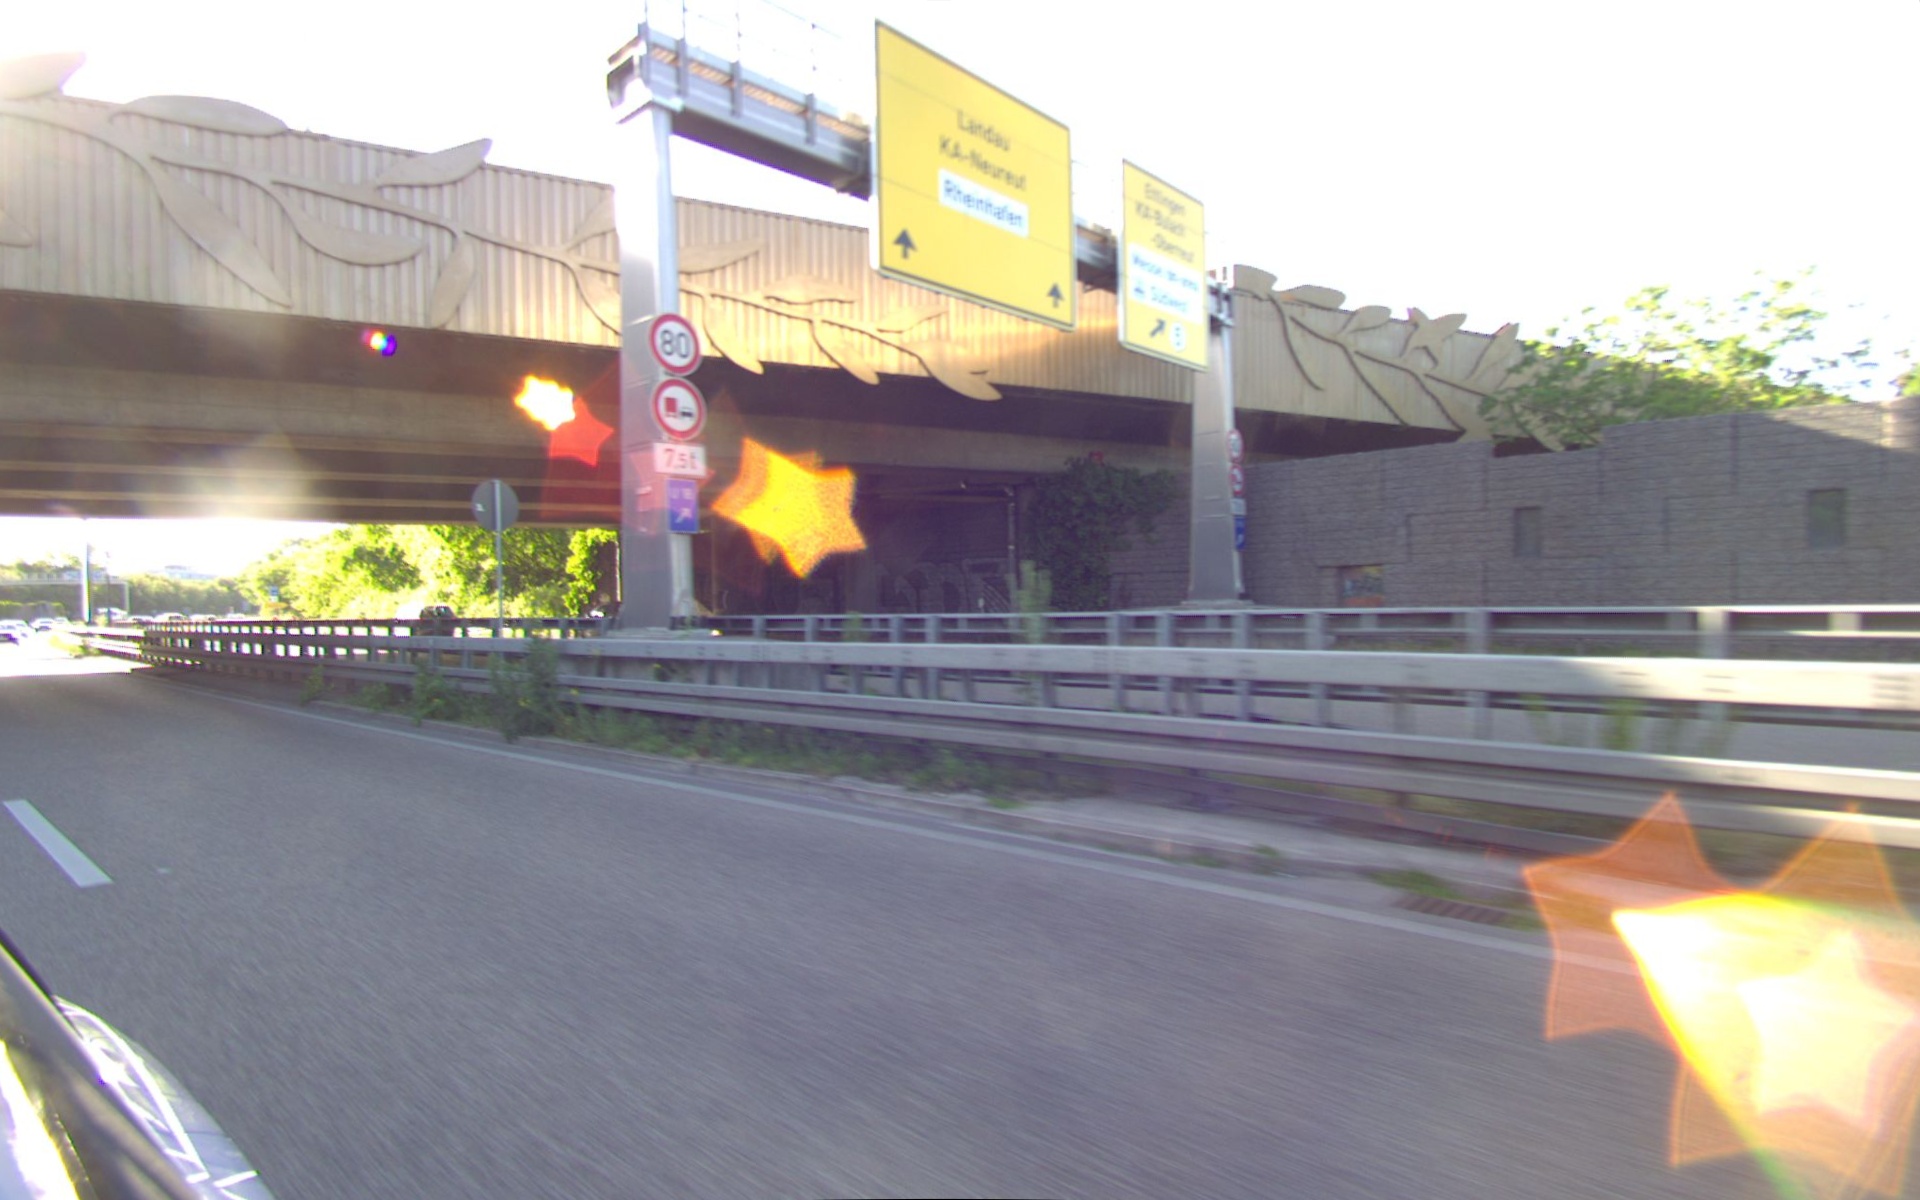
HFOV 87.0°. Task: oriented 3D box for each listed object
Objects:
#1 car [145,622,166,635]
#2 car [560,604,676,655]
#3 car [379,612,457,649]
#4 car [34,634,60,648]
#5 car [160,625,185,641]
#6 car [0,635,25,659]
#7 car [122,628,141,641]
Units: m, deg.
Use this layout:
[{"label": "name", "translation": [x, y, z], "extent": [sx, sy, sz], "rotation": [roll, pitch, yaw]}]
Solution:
[{"label": "car", "translation": [-106.518, 3.749, 134.000], "extent": [1.969, 1.653, 4.727], "rotation": [-2, 0, -41]}, {"label": "car", "translation": [-11.988, 1.030, 35.324], "extent": [4.427, 1.608, 1.972], "rotation": [-2, 0, 43]}, {"label": "car", "translation": [-26.062, 1.489, 48.608], "extent": [4.561, 1.719, 1.971], "rotation": [-2, -3, 43]}, {"label": "car", "translation": [-103.309, 4.592, 114.549], "extent": [1.969, 1.425, 4.839], "rotation": [-2, 0, -40]}, {"label": "car", "translation": [-89.727, 3.776, 115.257], "extent": [1.969, 1.653, 4.727], "rotation": [-2, 0, -41]}, {"label": "car", "translation": [-60.346, 2.969, 63.838], "extent": [1.970, 1.425, 4.835], "rotation": [-2, 0, -43]}, {"label": "car", "translation": [-119.846, 4.991, 146.432], "extent": [1.969, 1.653, 4.727], "rotation": [-2, 0, -41]}]
